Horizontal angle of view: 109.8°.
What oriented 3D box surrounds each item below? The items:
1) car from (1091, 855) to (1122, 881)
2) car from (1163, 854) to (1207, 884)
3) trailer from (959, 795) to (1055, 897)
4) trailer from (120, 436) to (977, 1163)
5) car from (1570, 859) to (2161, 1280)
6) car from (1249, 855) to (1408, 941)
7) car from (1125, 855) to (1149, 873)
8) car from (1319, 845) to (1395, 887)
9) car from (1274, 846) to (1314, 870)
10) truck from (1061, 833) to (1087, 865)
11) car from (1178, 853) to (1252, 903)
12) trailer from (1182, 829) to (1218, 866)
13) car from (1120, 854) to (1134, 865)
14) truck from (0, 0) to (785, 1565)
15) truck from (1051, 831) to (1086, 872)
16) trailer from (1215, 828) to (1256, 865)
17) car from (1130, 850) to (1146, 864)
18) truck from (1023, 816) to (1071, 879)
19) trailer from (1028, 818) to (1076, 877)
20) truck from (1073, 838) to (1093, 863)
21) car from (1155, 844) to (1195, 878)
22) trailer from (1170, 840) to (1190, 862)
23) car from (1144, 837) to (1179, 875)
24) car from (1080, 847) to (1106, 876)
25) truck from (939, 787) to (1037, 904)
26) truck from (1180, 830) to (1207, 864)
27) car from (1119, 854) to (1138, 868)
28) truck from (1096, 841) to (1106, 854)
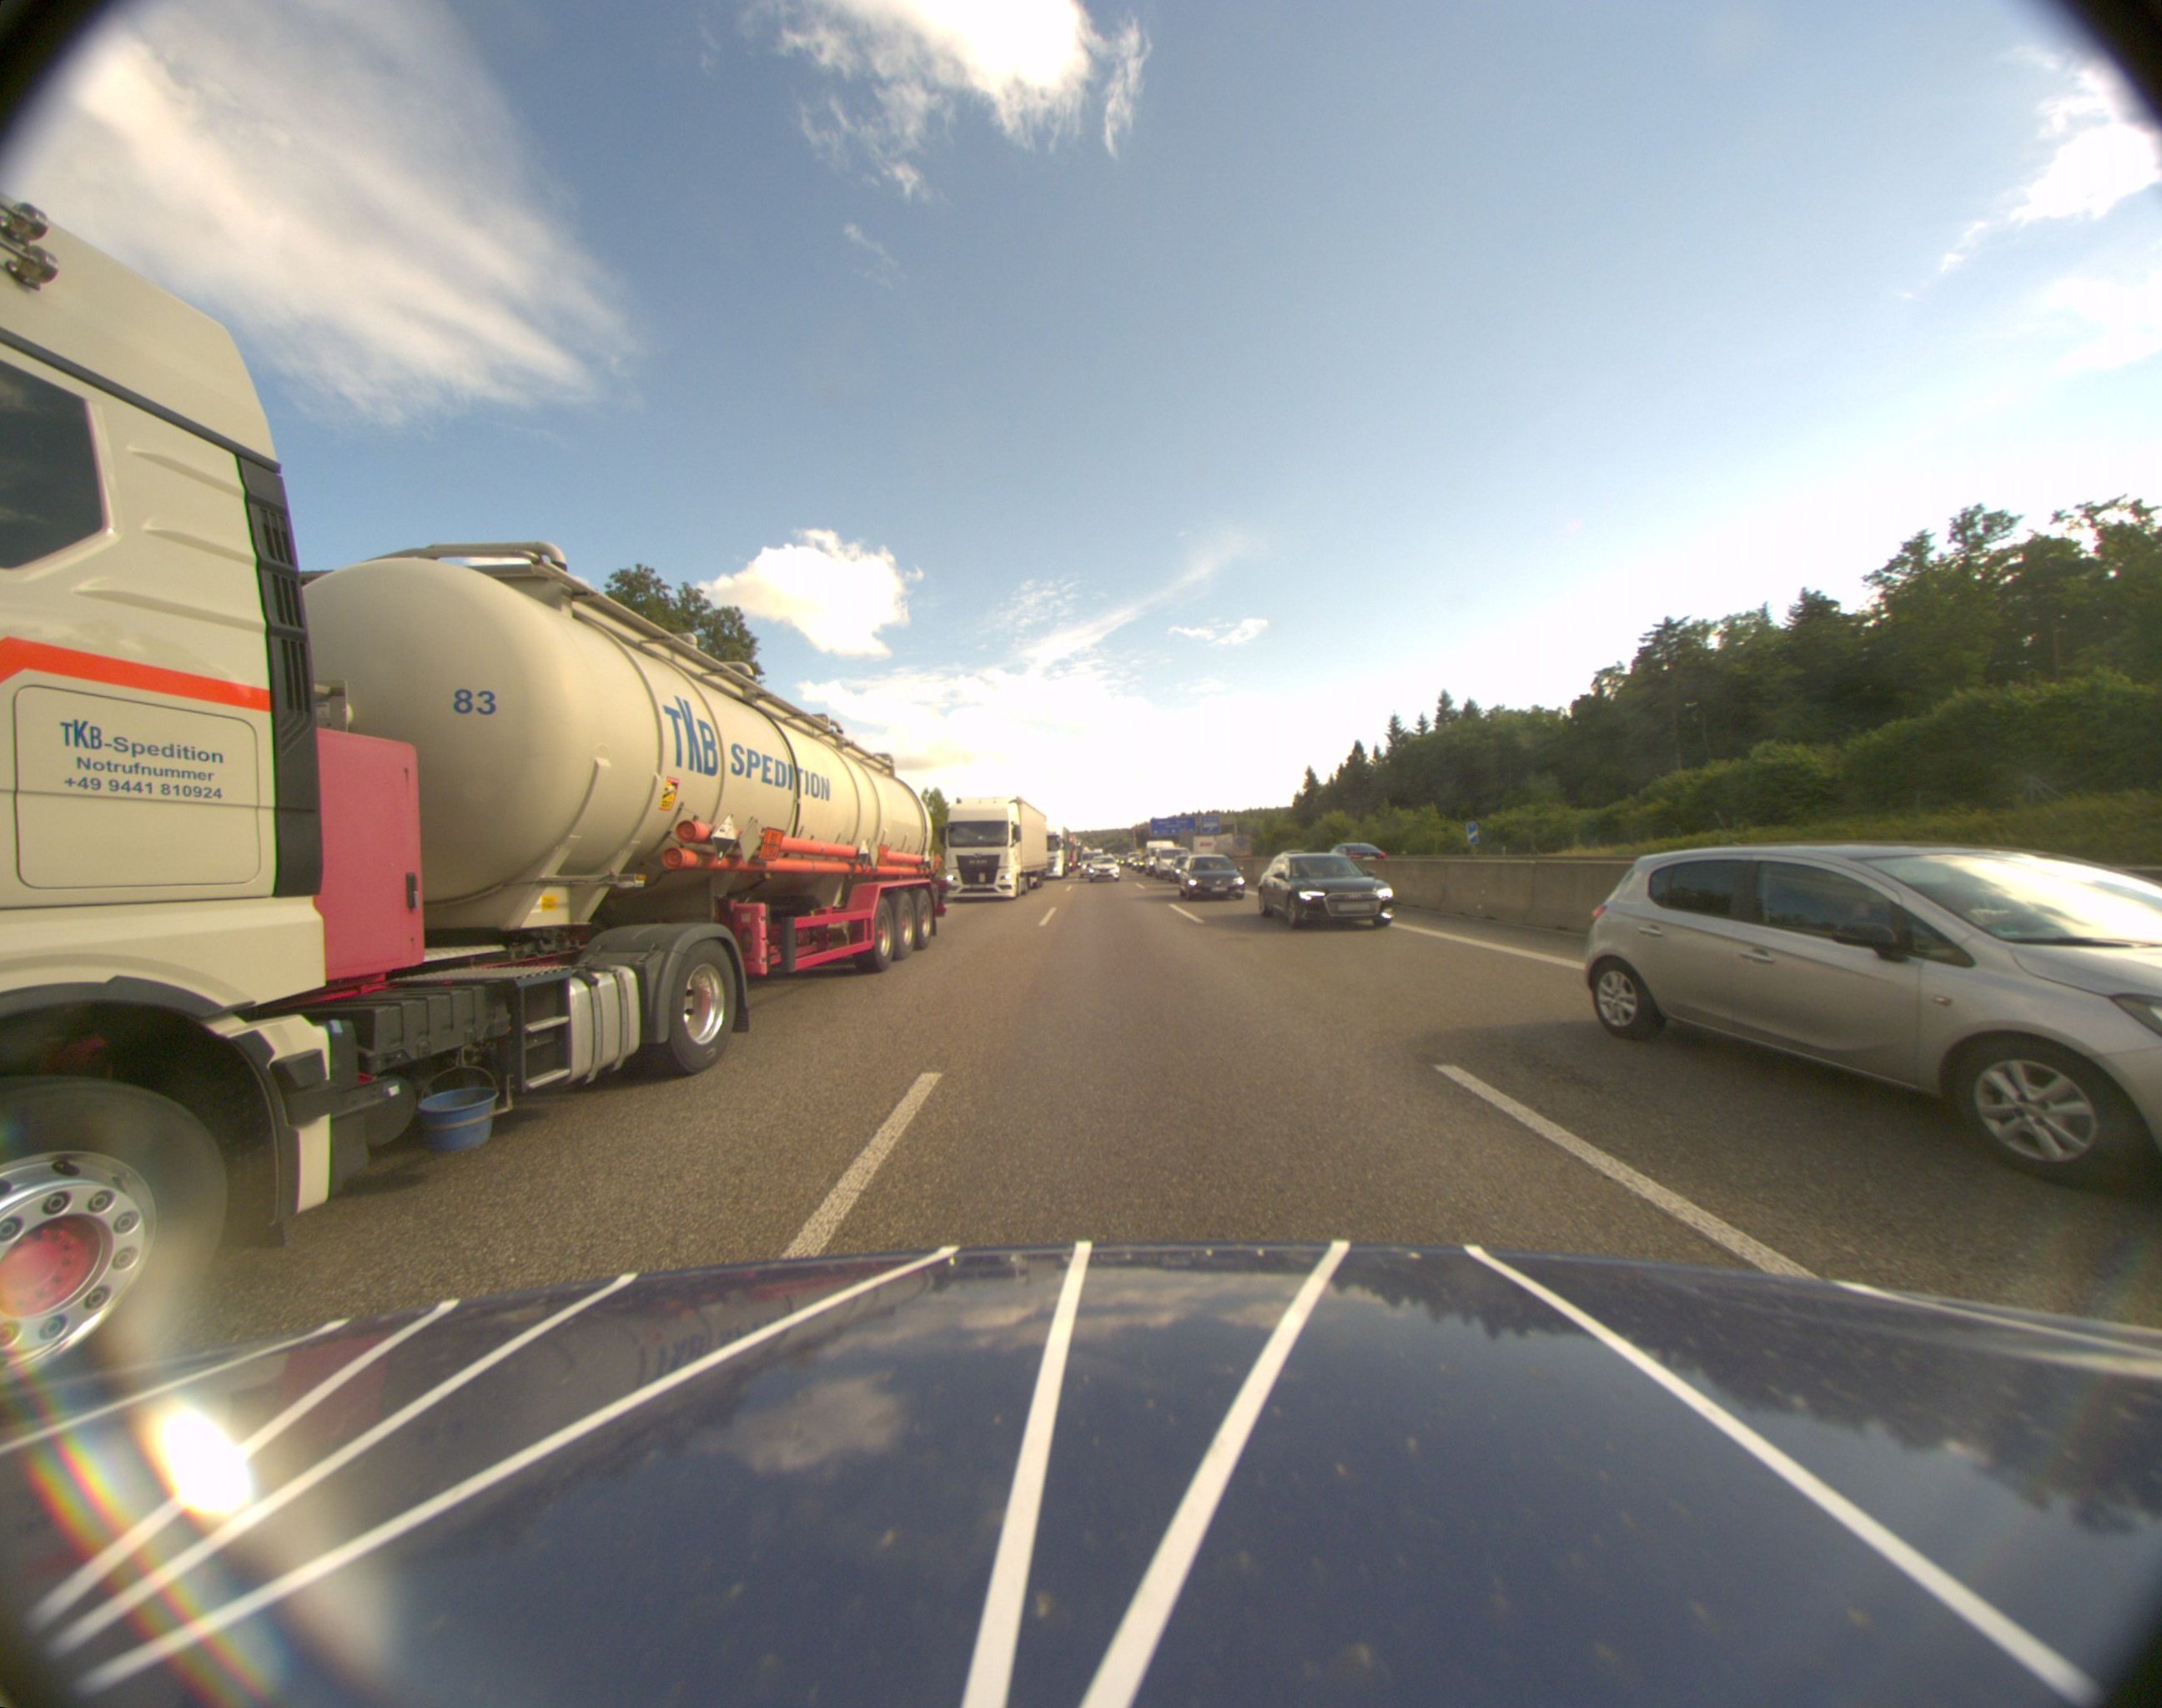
[{"bbox_3d":[1.561,0.808,47.043,1.809,1.487,4.666,-1,0,1],"label":"car"},{"bbox_3d":[5.448,0.737,40.271,1.809,1.423,3.994,-2,0,1],"label":"car"},{"bbox_3d":[-3.198,-0.366,37.354,2.832,4.047,13.372,-2,0,2],"label":"trailer"},{"bbox_3d":[-3.762,-0.302,9.860,2.805,4.003,11.182,-2,0,2],"label":"trailer"},{"bbox_3d":[4.772,0.786,4.054,1.751,1.457,4.041,-1,0,1],"label":"car"},{"bbox_3d":[4.976,0.795,16.056,1.887,1.463,4.852,-2,0,2],"label":"car"},{"bbox_3d":[4.732,0.813,64.438,1.809,1.423,3.660,-2,0,1],"label":"car"},{"bbox_3d":[12.835,0.527,35.632,1.857,1.799,4.624,-2,0,1],"label":"car"},{"bbox_3d":[16.627,0.295,59.473,1.857,1.799,4.624,-2,0,1],"label":"car"},{"bbox_3d":[-0.866,-0.737,108.635,2.840,4.178,12.046,-2,1,3],"label":"truck"},{"bbox_3d":[4.400,0.746,25.662,1.915,1.469,4.569,-2,0,3],"label":"car"},{"bbox_3d":[17.457,-0.993,112.363,3.096,5.044,13.833,-2,1,0],"label":"trailer"},{"bbox_3d":[6.882,0.761,113.258,1.920,1.535,3.811,-2,0,1],"label":"car"},{"bbox_3d":[-3.997,-0.273,3.299,2.809,4.020,5.904,-2,0,2],"label":"truck"},{"bbox_3d":[-1.251,-0.315,84.381,2.840,4.178,12.046,-2,1,3],"label":"truck"},{"bbox_3d":[22.070,-1.064,109.623,2.934,4.802,14.652,-2,1,1],"label":"trailer"},{"bbox_3d":[7.523,0.382,100.488,1.920,1.785,3.811,-2,0,1],"label":"car"},{"bbox_3d":[-2.327,-0.462,54.263,2.841,4.177,5.708,-2,0,2],"label":"truck"},{"bbox_3d":[-2.107,-0.496,61.714,2.841,4.177,13.614,-2,0,2],"label":"trailer"},{"bbox_3d":[0.396,-0.708,136.941,2.840,4.178,12.046,-2,1,3],"label":"truck"},{"bbox_3d":[5.827,0.413,47.627,1.947,1.953,4.848,-2,0,1],"label":"car"},{"bbox_3d":[24.046,-0.768,186.110,3.050,5.250,13.833,-2,1,1],"label":"trailer"},{"bbox_3d":[5.830,0.129,55.739,2.054,2.557,5.861,-1,0,1],"label":"car"},{"bbox_3d":[0.937,0.538,57.001,1.809,2.052,4.770,-2,0,1],"label":"car"},{"bbox_3d":[-3.463,-0.317,29.830,2.840,4.048,5.708,-2,0,2],"label":"truck"},{"bbox_3d":[17.500,-1.151,118.631,3.096,5.072,7.140,-2,1,1],"label":"truck"},{"bbox_3d":[4.970,0.739,79.926,1.809,1.423,3.660,-2,0,1],"label":"car"},{"bbox_3d":[6.676,-2.250,251.896,2.840,4.178,12.046,-2,1,3],"label":"truck"}]
